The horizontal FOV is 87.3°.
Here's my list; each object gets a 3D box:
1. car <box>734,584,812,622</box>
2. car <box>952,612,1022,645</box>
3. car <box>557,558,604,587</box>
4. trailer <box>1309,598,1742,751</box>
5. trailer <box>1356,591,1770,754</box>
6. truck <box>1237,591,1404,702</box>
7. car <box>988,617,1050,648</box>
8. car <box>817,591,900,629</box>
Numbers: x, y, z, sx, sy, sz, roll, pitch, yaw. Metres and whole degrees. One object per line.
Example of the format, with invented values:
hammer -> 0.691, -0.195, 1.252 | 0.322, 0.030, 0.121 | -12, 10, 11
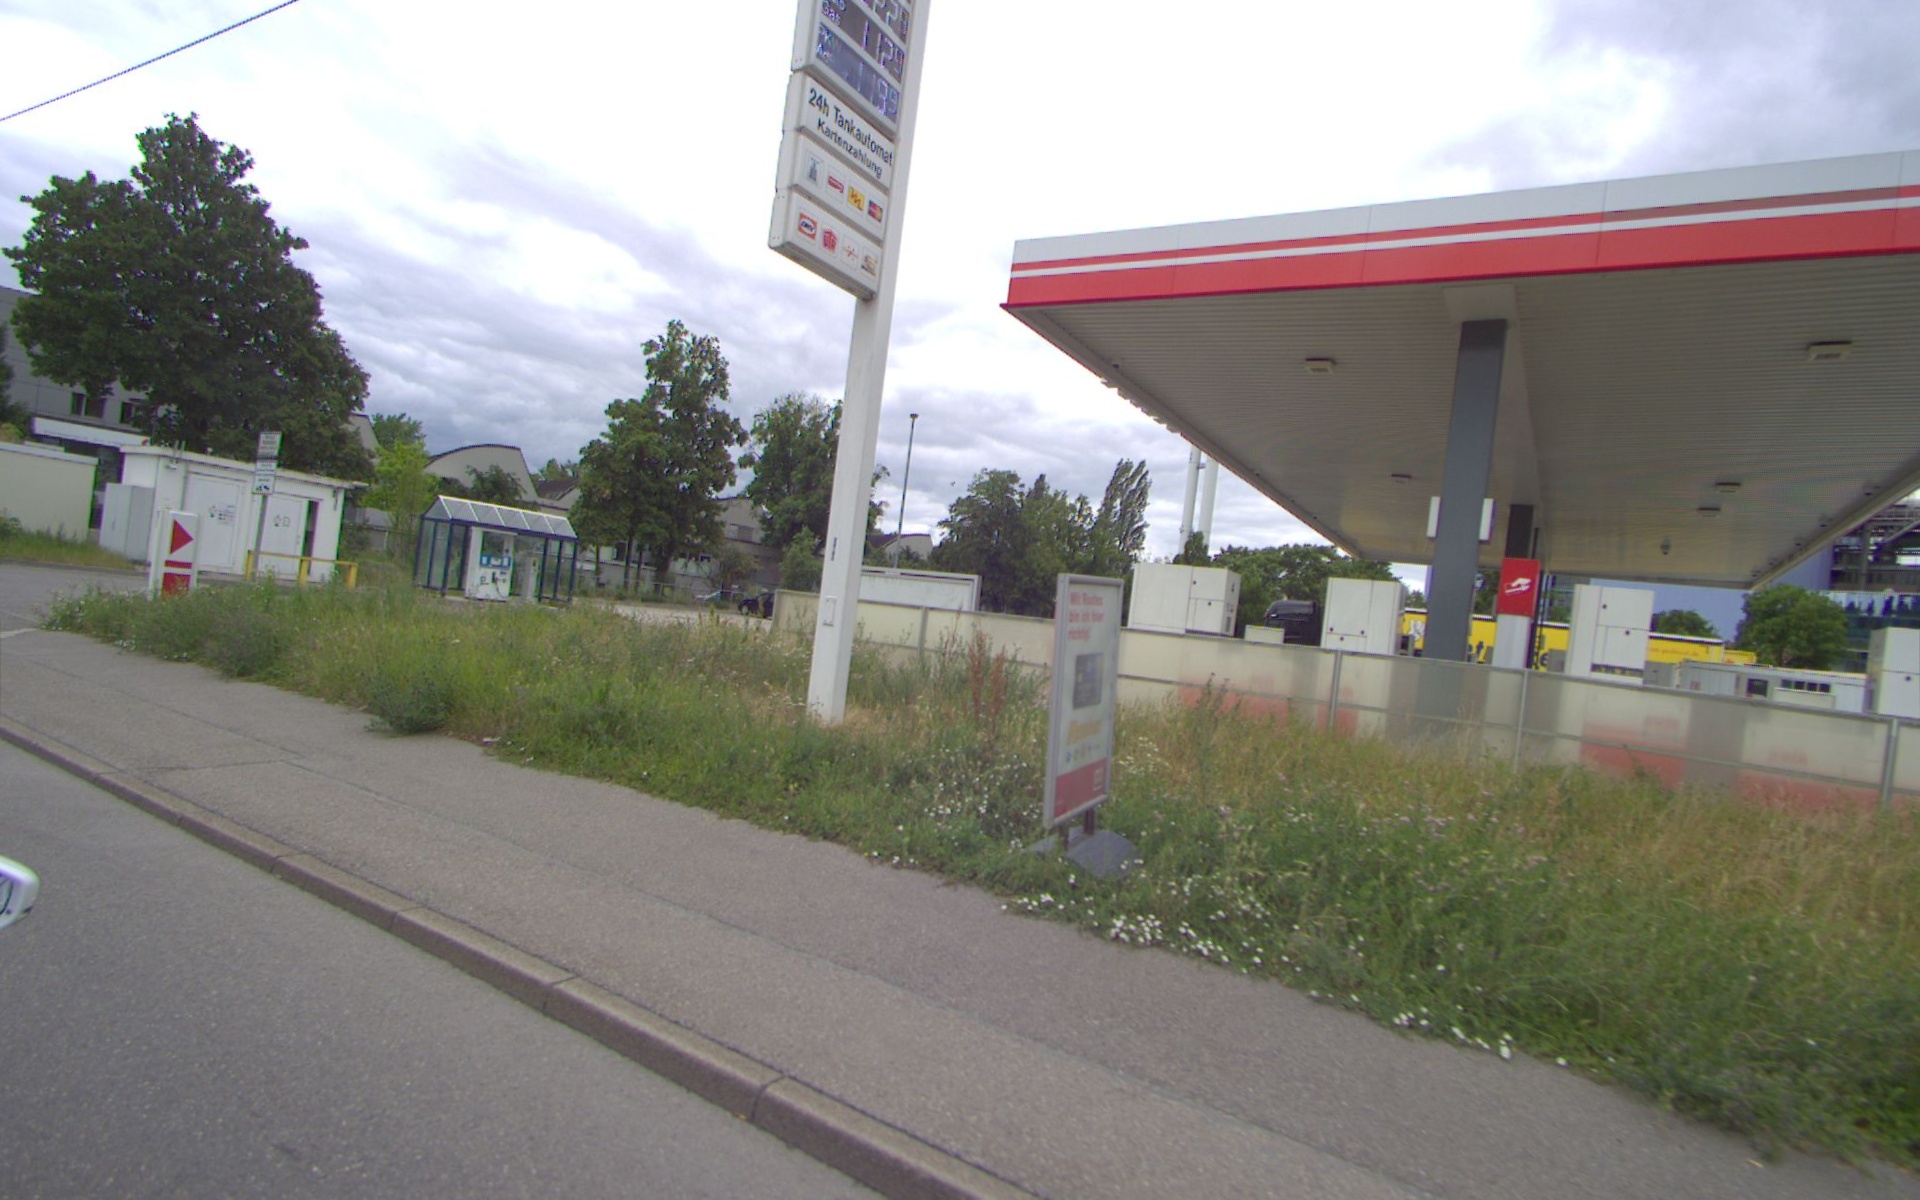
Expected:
car -> -9.899, 0.149, 53.214 | 3.821, 1.548, 1.734 | 7, 0, 33
car -> 1.814, 1.899, 68.448 | 2.083, 1.671, 4.916 | 7, -1, -36
car -> -26.921, -1.961, 71.249 | 1.895, 1.539, 4.020 | 7, 0, -38
trailer -> 21.551, 2.680, 39.669 | 14.063, 3.963, 3.004 | 7, 0, 31
trailer -> 24.637, 2.795, 42.362 | 14.063, 4.781, 3.004 | 7, 0, 31
truck -> 15.523, 1.977, 43.361 | 5.940, 3.963, 2.961 | 7, 0, 31
car -> 4.083, 2.257, 70.089 | 1.891, 1.671, 4.355 | 7, -1, -36
car -> -6.128, 0.600, 60.649 | 4.576, 1.665, 1.965 | 7, -1, 31
